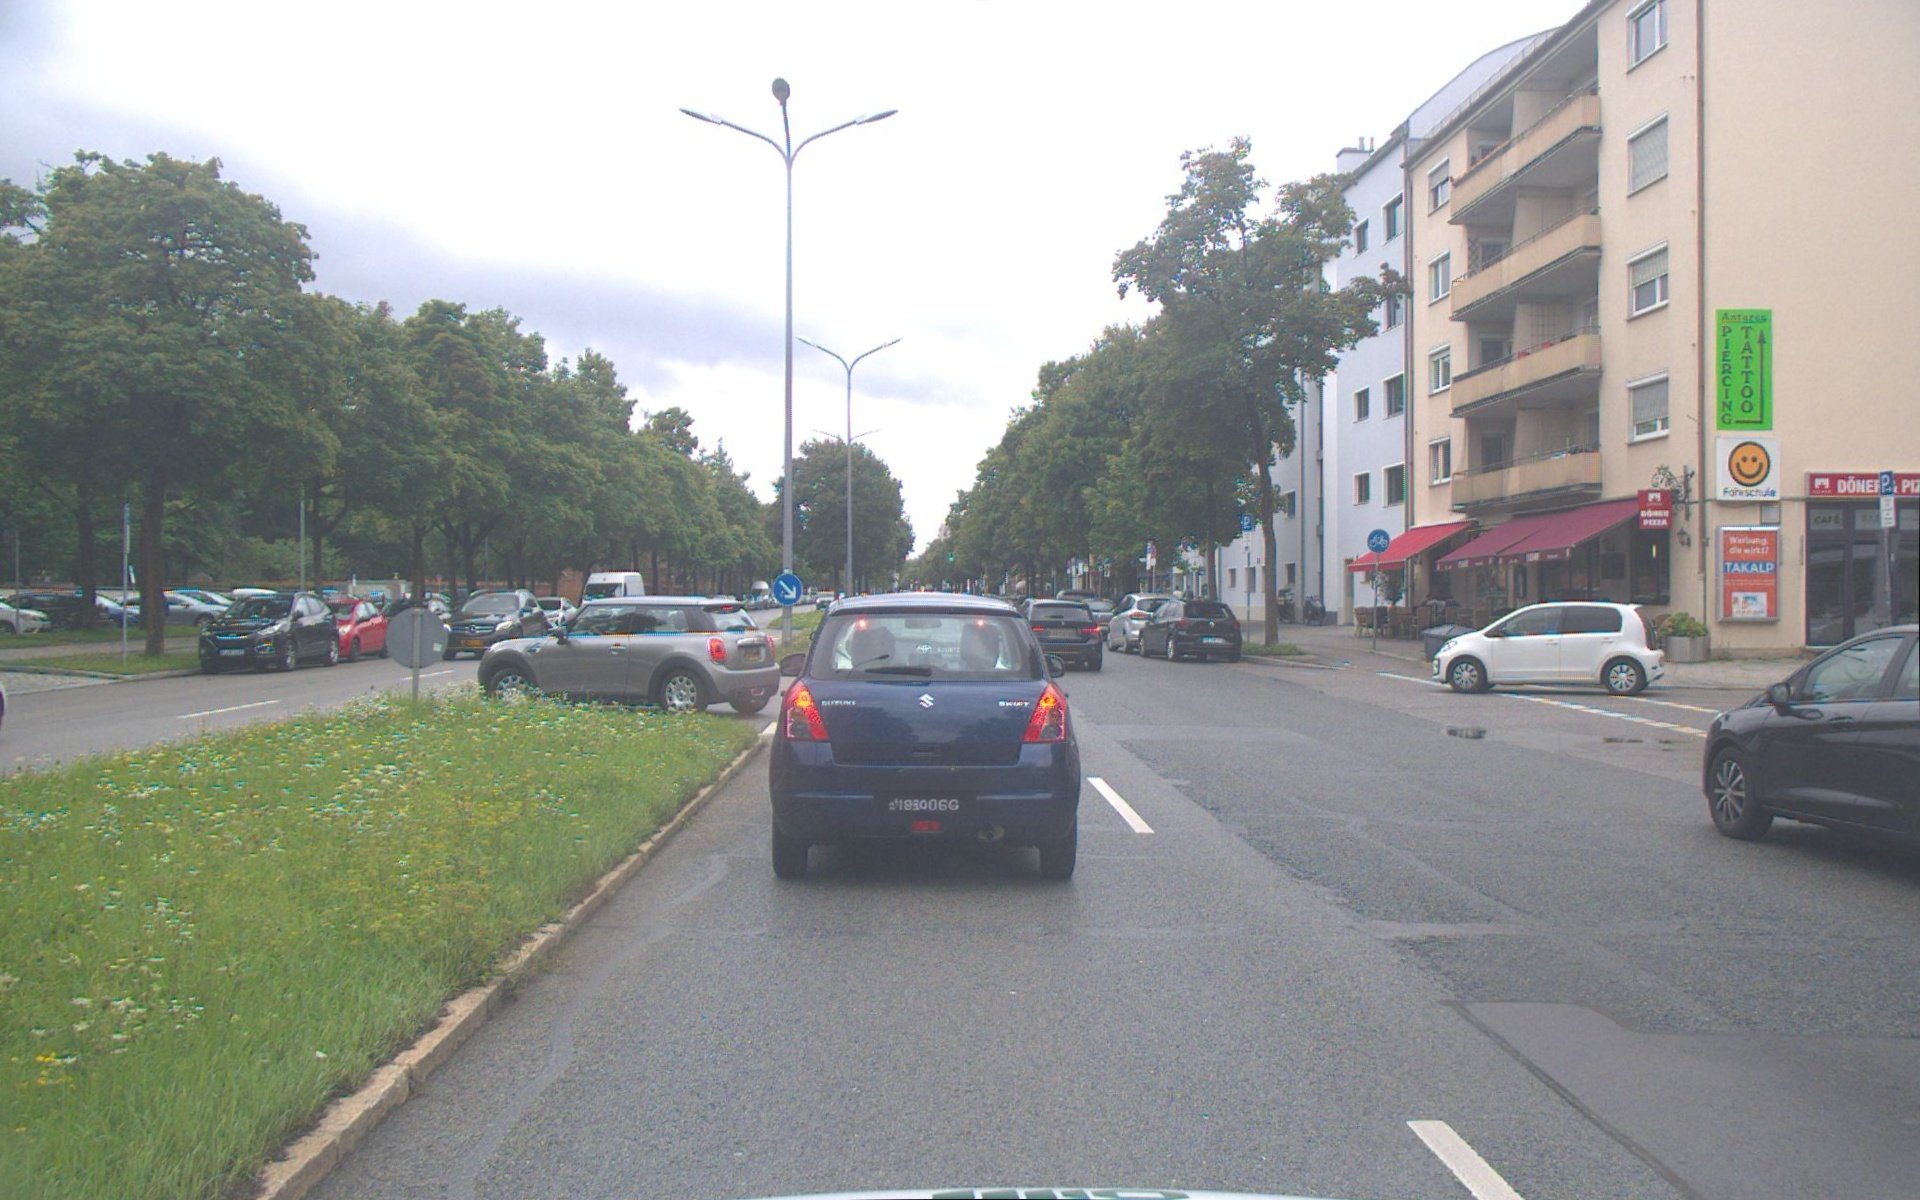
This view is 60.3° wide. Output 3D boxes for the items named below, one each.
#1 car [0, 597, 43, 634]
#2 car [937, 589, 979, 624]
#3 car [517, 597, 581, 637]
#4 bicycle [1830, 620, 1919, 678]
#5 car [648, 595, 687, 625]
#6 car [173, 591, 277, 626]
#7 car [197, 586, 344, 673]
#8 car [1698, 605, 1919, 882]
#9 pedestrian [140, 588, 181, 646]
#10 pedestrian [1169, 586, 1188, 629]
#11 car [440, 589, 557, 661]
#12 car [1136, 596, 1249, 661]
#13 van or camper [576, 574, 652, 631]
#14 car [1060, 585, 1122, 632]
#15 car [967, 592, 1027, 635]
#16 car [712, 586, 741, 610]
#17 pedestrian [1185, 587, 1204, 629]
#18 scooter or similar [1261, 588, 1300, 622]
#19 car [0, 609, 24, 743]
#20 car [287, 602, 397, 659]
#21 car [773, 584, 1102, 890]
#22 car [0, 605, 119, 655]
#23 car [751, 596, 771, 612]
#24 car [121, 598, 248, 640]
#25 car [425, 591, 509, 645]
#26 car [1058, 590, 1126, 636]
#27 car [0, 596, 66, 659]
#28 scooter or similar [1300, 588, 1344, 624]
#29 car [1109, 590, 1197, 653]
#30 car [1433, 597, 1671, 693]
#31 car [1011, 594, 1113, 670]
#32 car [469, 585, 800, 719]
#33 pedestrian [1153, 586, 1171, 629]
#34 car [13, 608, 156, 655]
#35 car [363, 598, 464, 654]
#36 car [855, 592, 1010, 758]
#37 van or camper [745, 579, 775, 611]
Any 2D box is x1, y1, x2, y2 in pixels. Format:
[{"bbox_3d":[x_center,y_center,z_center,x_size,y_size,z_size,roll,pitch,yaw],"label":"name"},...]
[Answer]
[{"bbox_3d":[-39.770,0.602,66.690,4.595,1.471,1.672,1,0,-1],"label":"car"},{"bbox_3d":[-0.115,0.253,70.384,1.648,1.408,3.917,1,0,-2],"label":"car"},{"bbox_3d":[-15.681,0.624,63.285,1.599,1.456,3.877,1,0,-2],"label":"car"},{"bbox_3d":[16.173,0.845,28.739,1.809,0.974,0.557,1,0,0],"label":"bicycle"},{"bbox_3d":[-16.409,0.538,92.977,1.599,1.610,3.877,1,0,-2],"label":"car"},{"bbox_3d":[-32.011,0.366,72.136,3.792,1.471,1.670,1,0,-7],"label":"car"},{"bbox_3d":[-14.983,0.603,36.134,1.682,1.771,3.877,1,0,-2],"label":"car"},{"bbox_3d":[5.979,0.805,9.672,1.584,1.491,3.673,2,0,-2],"label":"car"},{"bbox_3d":[-21.568,0.459,44.632,0.713,1.561,0.720,1,0,-1],"label":"pedestrian"},{"bbox_3d":[10.564,0.366,79.899,0.778,2.049,1.006,0,0,-1],"label":"pedestrian"},{"bbox_3d":[-11.466,0.573,41.351,1.731,1.651,4.505,-2,0,-2],"label":"car"},{"bbox_3d":[5.574,0.656,40.178,1.829,1.442,4.220,-1,0,-5],"label":"car"},{"bbox_3d":[-16.117,0.111,77.457,2.074,2.525,7.447,1,0,-1],"label":"van or camper"},{"bbox_3d":[4.957,0.289,63.057,1.828,1.712,4.222,-1,0,-3],"label":"car"},{"bbox_3d":[1.293,0.454,59.110,1.697,1.457,4.438,1,0,-4],"label":"car"},{"bbox_3d":[-16.384,-0.137,116.008,1.599,1.610,3.877,1,0,-2],"label":"car"},{"bbox_3d":[11.352,0.377,80.018,0.778,2.049,1.006,0,0,-1],"label":"pedestrian"},{"bbox_3d":[12.986,0.185,67.045,1.012,1.330,2.755,0,0,-1],"label":"scooter or similar"},{"bbox_3d":[-10.818,0.833,15.827,1.586,1.399,3.836,-2,0,-2],"label":"car"},{"bbox_3d":[-15.294,0.724,41.100,1.559,1.335,3.379,1,0,-2],"label":"car"},{"bbox_3d":[-0.191,0.671,10.259,1.648,1.528,3.917,0,0,-3],"label":"car"},{"bbox_3d":[-28.050,0.908,50.557,3.792,1.471,1.670,1,0,-7],"label":"car"},{"bbox_3d":[-20.112,0.398,167.243,1.599,1.610,3.877,1,0,-2],"label":"car"},{"bbox_3d":[-28.150,0.694,60.138,3.792,1.471,1.670,1,0,-7],"label":"car"},{"bbox_3d":[-15.329,0.536,51.581,1.559,1.585,3.877,1,0,-2],"label":"car"},{"bbox_3d":[4.613,0.428,58.192,1.828,1.544,4.222,-1,0,-3],"label":"car"},{"bbox_3d":[-28.190,0.765,47.679,3.844,1.748,1.670,1,0,-7],"label":"car"},{"bbox_3d":[13.582,0.210,62.111,1.012,1.330,2.755,0,0,-1],"label":"scooter or similar"},{"bbox_3d":[5.177,0.539,44.849,1.756,1.585,4.223,-1,0,-2],"label":"car"},{"bbox_3d":[9.635,0.696,26.900,3.478,1.442,1.870,0,0,26],"label":"car"},{"bbox_3d":[2.066,0.620,34.719,1.723,1.438,4.461,1,0,-2],"label":"car"},{"bbox_3d":[-3.956,0.575,20.130,3.646,1.488,1.687,0,0,23],"label":"car"},{"bbox_3d":[9.752,0.354,79.878,0.778,2.049,1.006,0,0,-1],"label":"pedestrian"},{"bbox_3d":[-28.919,1.038,54.709,3.792,1.471,1.670,1,0,-7],"label":"car"},{"bbox_3d":[-15.170,0.697,46.072,1.634,1.471,3.877,1,0,-2],"label":"car"},{"bbox_3d":[-0.318,0.683,16.714,1.415,1.509,3.105,0,0,-3],"label":"car"},{"bbox_3d":[-21.045,-0.520,174.076,2.509,3.353,6.934,1,0,-2],"label":"van or camper"}]
